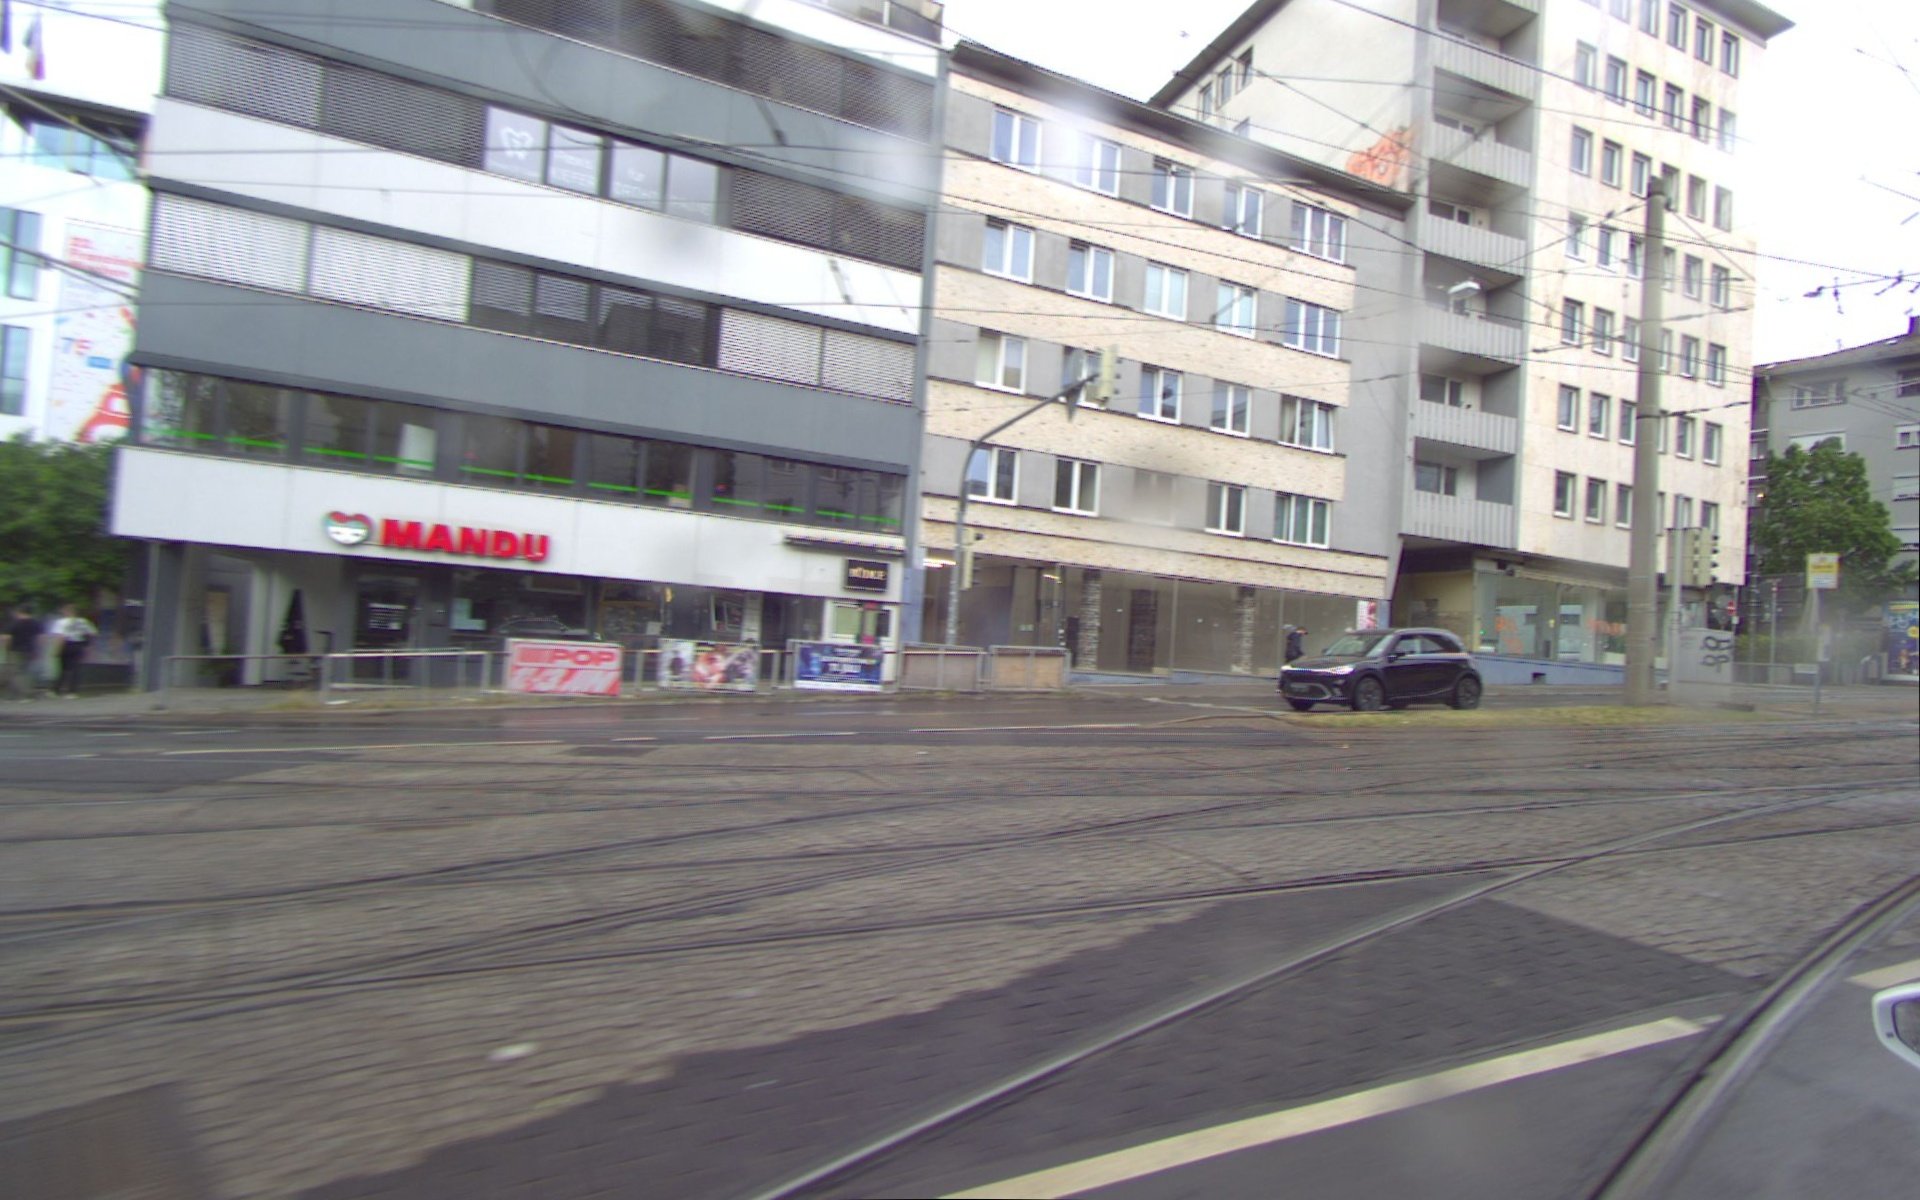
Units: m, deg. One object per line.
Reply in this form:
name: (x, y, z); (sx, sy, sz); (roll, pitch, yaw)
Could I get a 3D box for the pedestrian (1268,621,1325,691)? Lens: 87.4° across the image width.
pedestrian: (8.371, 1.381, 24.974); (0.986, 1.703, 0.884); (2, -2, -28)

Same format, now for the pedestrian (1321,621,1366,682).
pedestrian: (10.957, 1.466, 28.704); (0.985, 1.703, 0.676); (2, -2, -25)

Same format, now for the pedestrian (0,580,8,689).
pedestrian: (-17.473, 0.592, 17.675); (0.705, 1.939, 0.698); (2, -2, 18)

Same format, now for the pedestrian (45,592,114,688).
pedestrian: (-16.967, 0.771, 19.362); (0.706, 1.785, 0.697); (2, -2, 25)

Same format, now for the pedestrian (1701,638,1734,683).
pedestrian: (27.315, 2.183, 36.213); (0.766, 1.569, 0.675); (2, -2, -25)

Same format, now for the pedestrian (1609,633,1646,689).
pedestrian: (21.443, 1.956, 32.259); (0.897, 1.761, 0.595); (2, -2, -25)

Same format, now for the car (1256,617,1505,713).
car: (8.239, 1.257, 19.678); (4.463, 1.695, 1.989); (2, -2, -24)

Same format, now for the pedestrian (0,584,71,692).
pedestrian: (-17.144, 0.698, 18.631); (0.688, 1.939, 0.715); (4, -2, -24)
